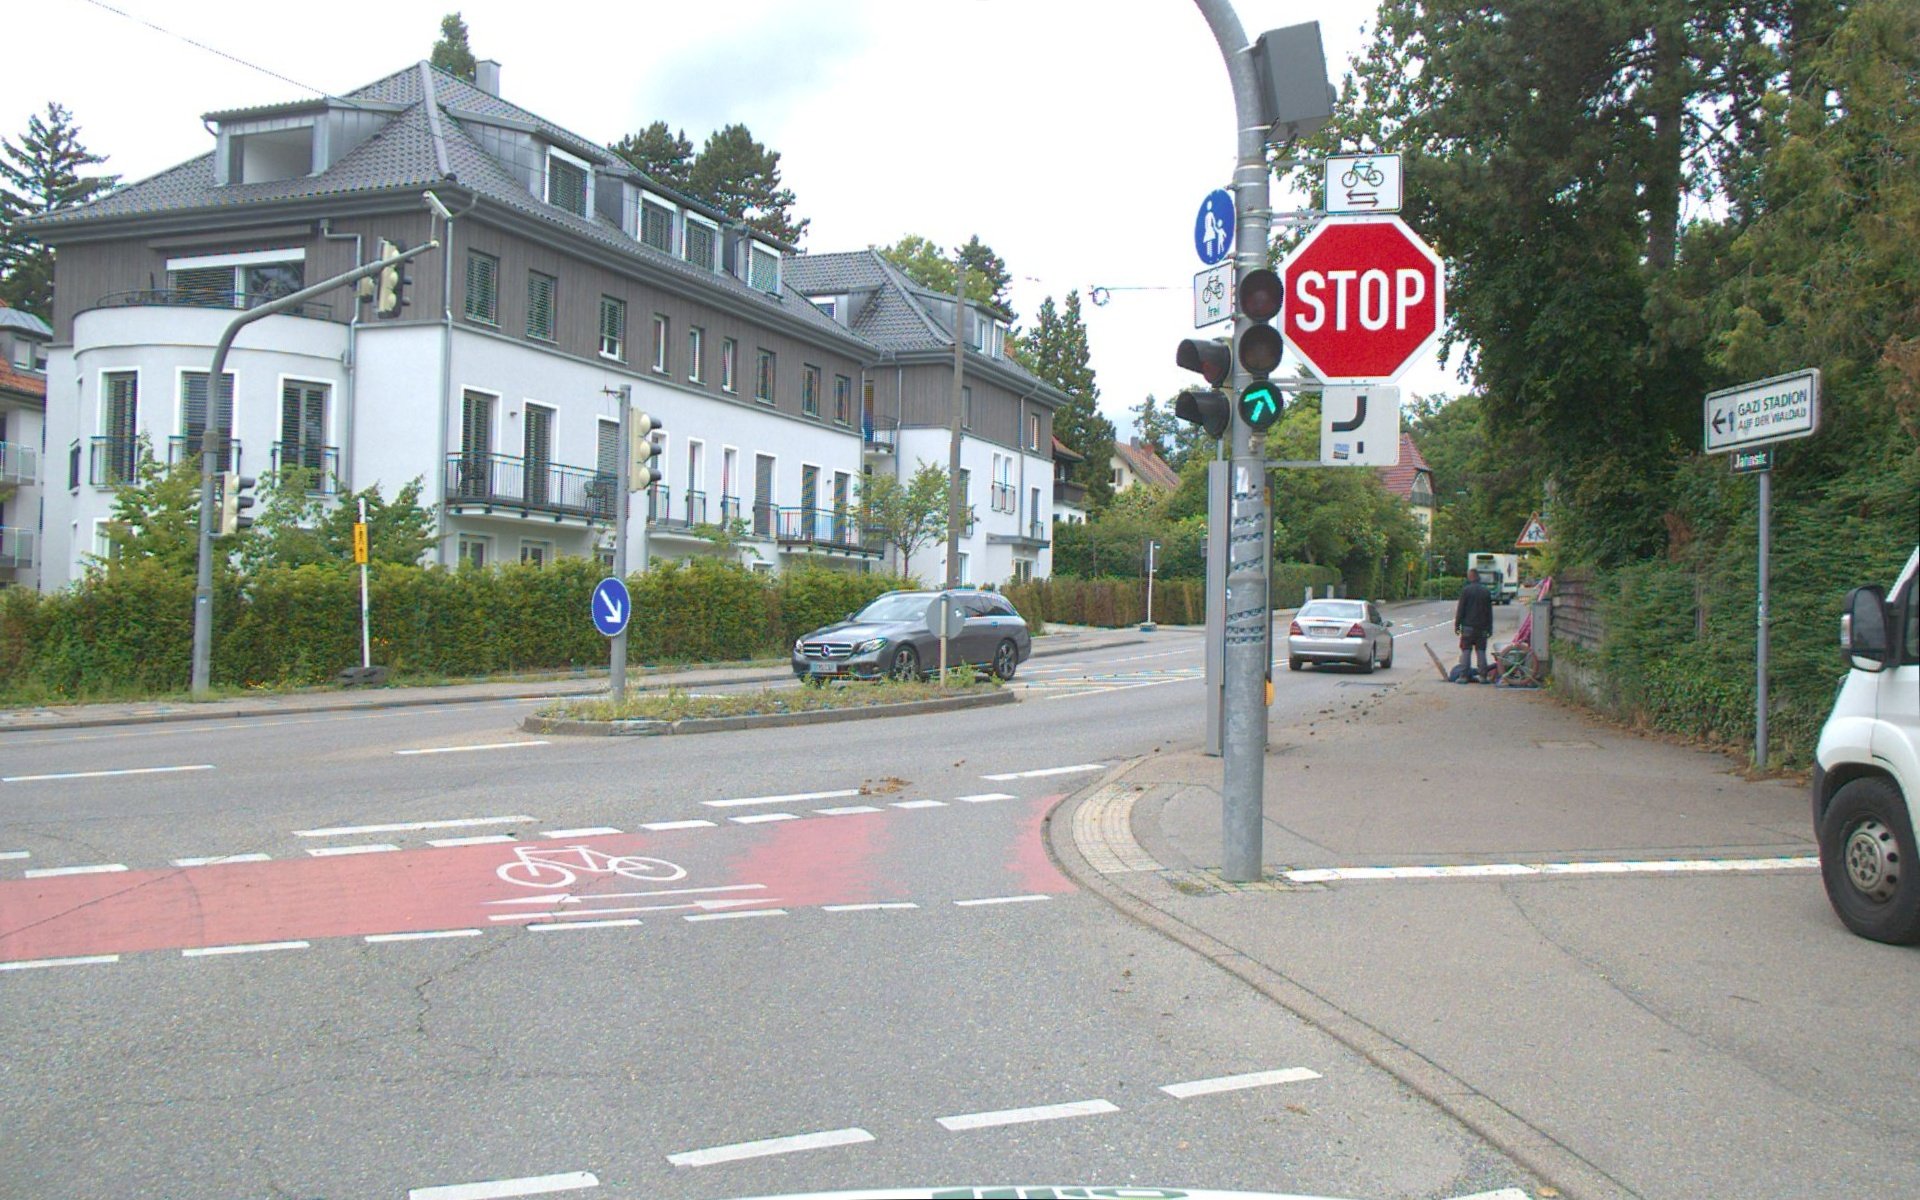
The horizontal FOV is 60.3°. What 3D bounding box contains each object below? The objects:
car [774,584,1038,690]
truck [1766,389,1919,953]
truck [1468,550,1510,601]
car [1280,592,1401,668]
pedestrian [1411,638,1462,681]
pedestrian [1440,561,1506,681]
[{"bbox_3d":[-0.736,0.514,26.156,1.793,1.511,4.734,0,1,33],"label":"car"},{"bbox_3d":[5.219,0.310,5.282,2.347,2.393,6.189,1,0,1],"label":"truck"},{"bbox_3d":[38.071,-1.713,118.986,2.719,3.522,7.497,1,0,18],"label":"truck"},{"bbox_3d":[7.896,0.600,34.056,1.760,1.439,4.335,1,0,22],"label":"car"},{"bbox_3d":[8.224,1.015,28.541,0.635,0.709,0.582,0,1,-20],"label":"pedestrian"},{"bbox_3d":[8.512,0.341,27.470,0.828,1.957,0.801,1,1,1],"label":"pedestrian"}]
